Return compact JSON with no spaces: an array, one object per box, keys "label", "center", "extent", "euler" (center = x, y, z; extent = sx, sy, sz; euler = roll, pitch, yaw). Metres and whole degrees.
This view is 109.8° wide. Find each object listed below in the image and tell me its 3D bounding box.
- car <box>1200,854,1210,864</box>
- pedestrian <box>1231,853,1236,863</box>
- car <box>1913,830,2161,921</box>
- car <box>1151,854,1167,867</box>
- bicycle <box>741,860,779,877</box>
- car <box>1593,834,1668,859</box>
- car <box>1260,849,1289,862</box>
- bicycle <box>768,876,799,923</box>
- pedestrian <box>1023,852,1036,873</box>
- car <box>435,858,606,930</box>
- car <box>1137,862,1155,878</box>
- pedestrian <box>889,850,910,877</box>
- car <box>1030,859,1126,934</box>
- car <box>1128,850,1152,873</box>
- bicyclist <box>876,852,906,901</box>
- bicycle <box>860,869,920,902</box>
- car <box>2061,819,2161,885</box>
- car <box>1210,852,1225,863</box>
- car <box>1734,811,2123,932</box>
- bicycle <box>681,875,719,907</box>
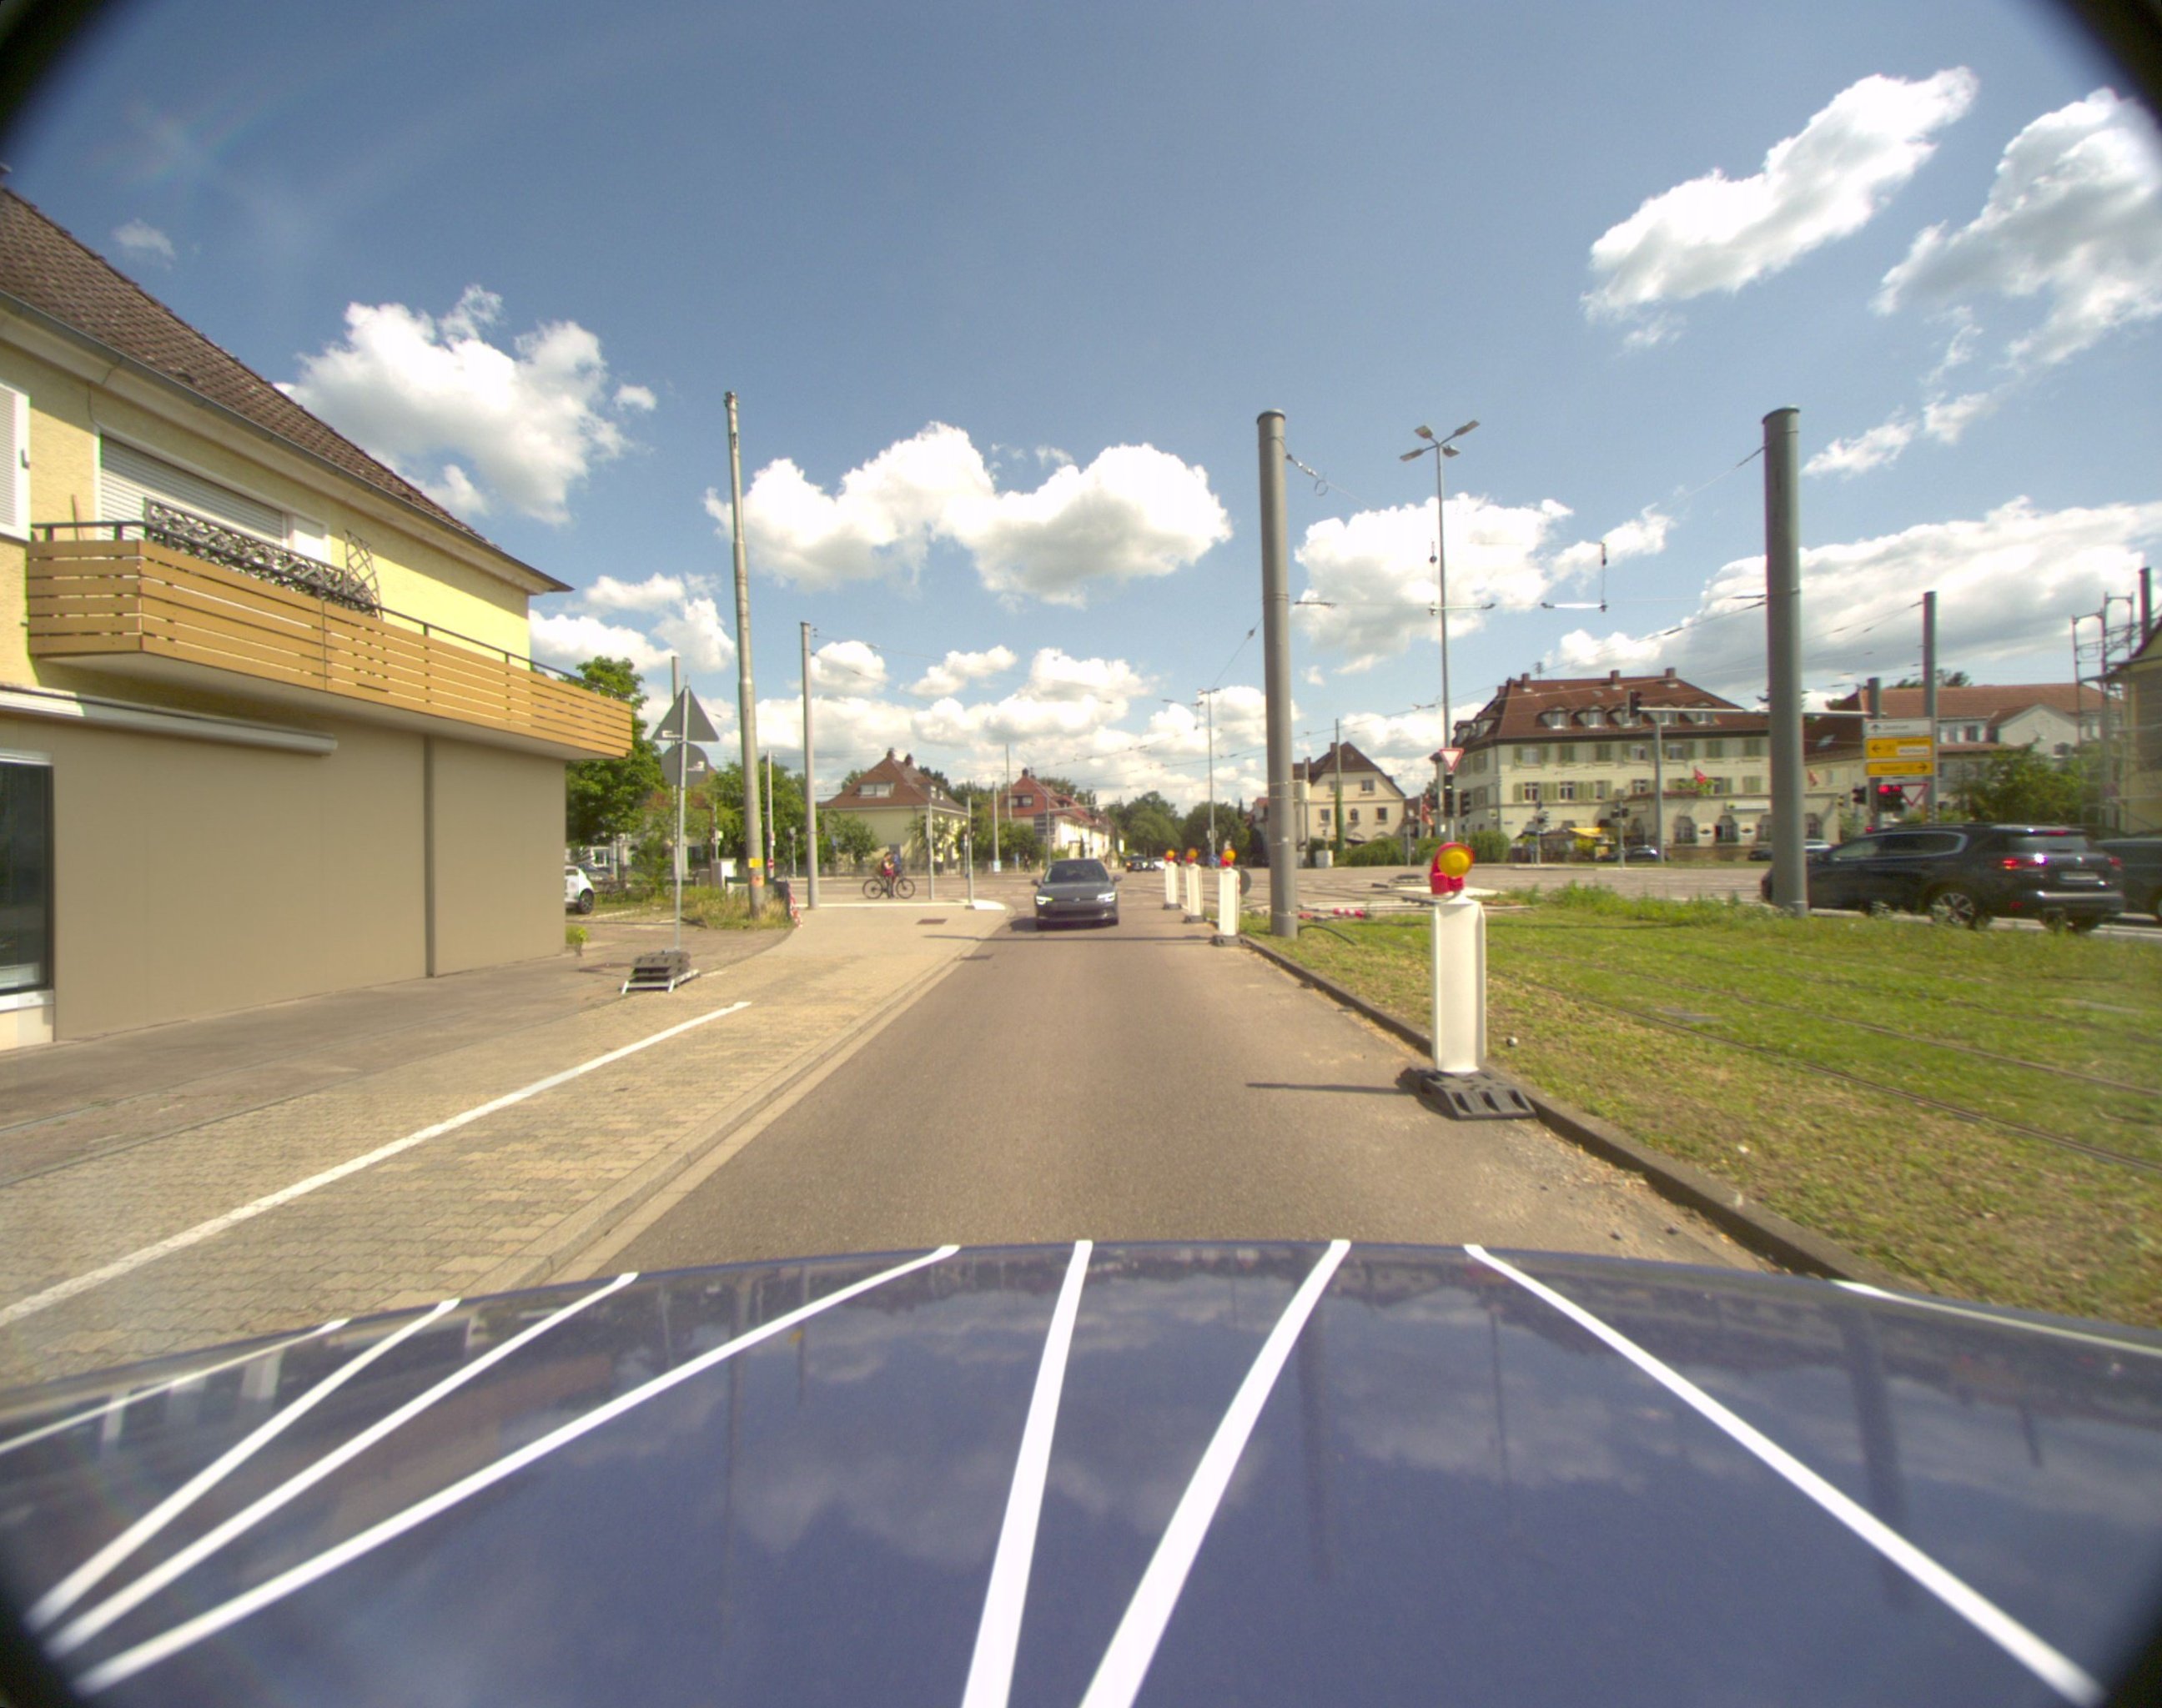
[{"label":"car","center":[20.865,0.870,127.844],"extent":[1.561,1.645,3.576],"euler":[-1,0,10]},{"label":"pedestrian","center":[22.088,0.596,110.269],"extent":[0.631,1.526,0.618],"euler":[-1,0,10]},{"label":"car","center":[18.737,0.329,14.133],"extent":[1.832,1.478,4.334],"euler":[-2,1,2]},{"label":"car","center":[9.090,0.729,88.199],"extent":[1.708,1.454,3.156],"euler":[-1,0,7]},{"label":"bicycle","center":[-26.583,1.224,62.985],"extent":[2.800,1.326,0.623],"euler":[-1,0,-1]},{"label":"car","center":[38.121,-0.506,52.773],"extent":[3.921,1.574,1.748],"euler":[-1,0,3]},{"label":"car","center":[21.837,0.185,85.571],"extent":[1.757,1.378,4.111],"euler":[-2,0,37]},{"label":"bicycle","center":[-7.732,1.147,19.798],"extent":[0.595,1.090,2.273],"euler":[-2,1,-19]},{"label":"pedestrian","center":[-4.501,0.741,65.892],"extent":[0.591,1.757,0.939],"euler":[-1,0,43]},{"label":"car","center":[-15.221,1.015,20.951],"extent":[1.827,1.612,3.998],"euler":[-2,2,-3]},{"label":"car","center":[6.355,1.522,74.196],"extent":[1.709,1.454,3.156],"euler":[-1,0,6]},{"label":"pedestrian","center":[-12.048,0.623,50.532],"extent":[1.032,1.724,1.041],"euler":[-1,0,3]},{"label":"car","center":[0.078,0.882,17.708],"extent":[1.766,1.465,4.689],"euler":[-1,0,5]},{"label":"car","center":[5.054,0.601,64.918],"extent":[1.775,1.754,4.875],"euler":[-2,1,7]},{"label":"bicyclist","center":[-6.962,0.806,27.891],"extent":[0.961,1.765,0.718],"euler":[-2,1,-19]},{"label":"bicycle","center":[-7.014,1.134,27.860],"extent":[2.035,1.095,0.714],"euler":[-2,1,-20]},{"label":"car","center":[27.407,-0.115,18.906],"extent":[4.145,1.485,1.507],"euler":[-3,0,-1]},{"label":"car","center":[17.345,0.443,96.756],"extent":[1.708,1.454,3.156],"euler":[-1,0,7]},{"label":"car","center":[14.152,0.268,13.196],"extent":[1.791,1.710,4.441],"euler":[-1,0,0]},{"label":"bicycle","center":[-13.890,1.336,27.659],"extent":[0.704,1.098,1.803],"euler":[-2,1,-44]}]
